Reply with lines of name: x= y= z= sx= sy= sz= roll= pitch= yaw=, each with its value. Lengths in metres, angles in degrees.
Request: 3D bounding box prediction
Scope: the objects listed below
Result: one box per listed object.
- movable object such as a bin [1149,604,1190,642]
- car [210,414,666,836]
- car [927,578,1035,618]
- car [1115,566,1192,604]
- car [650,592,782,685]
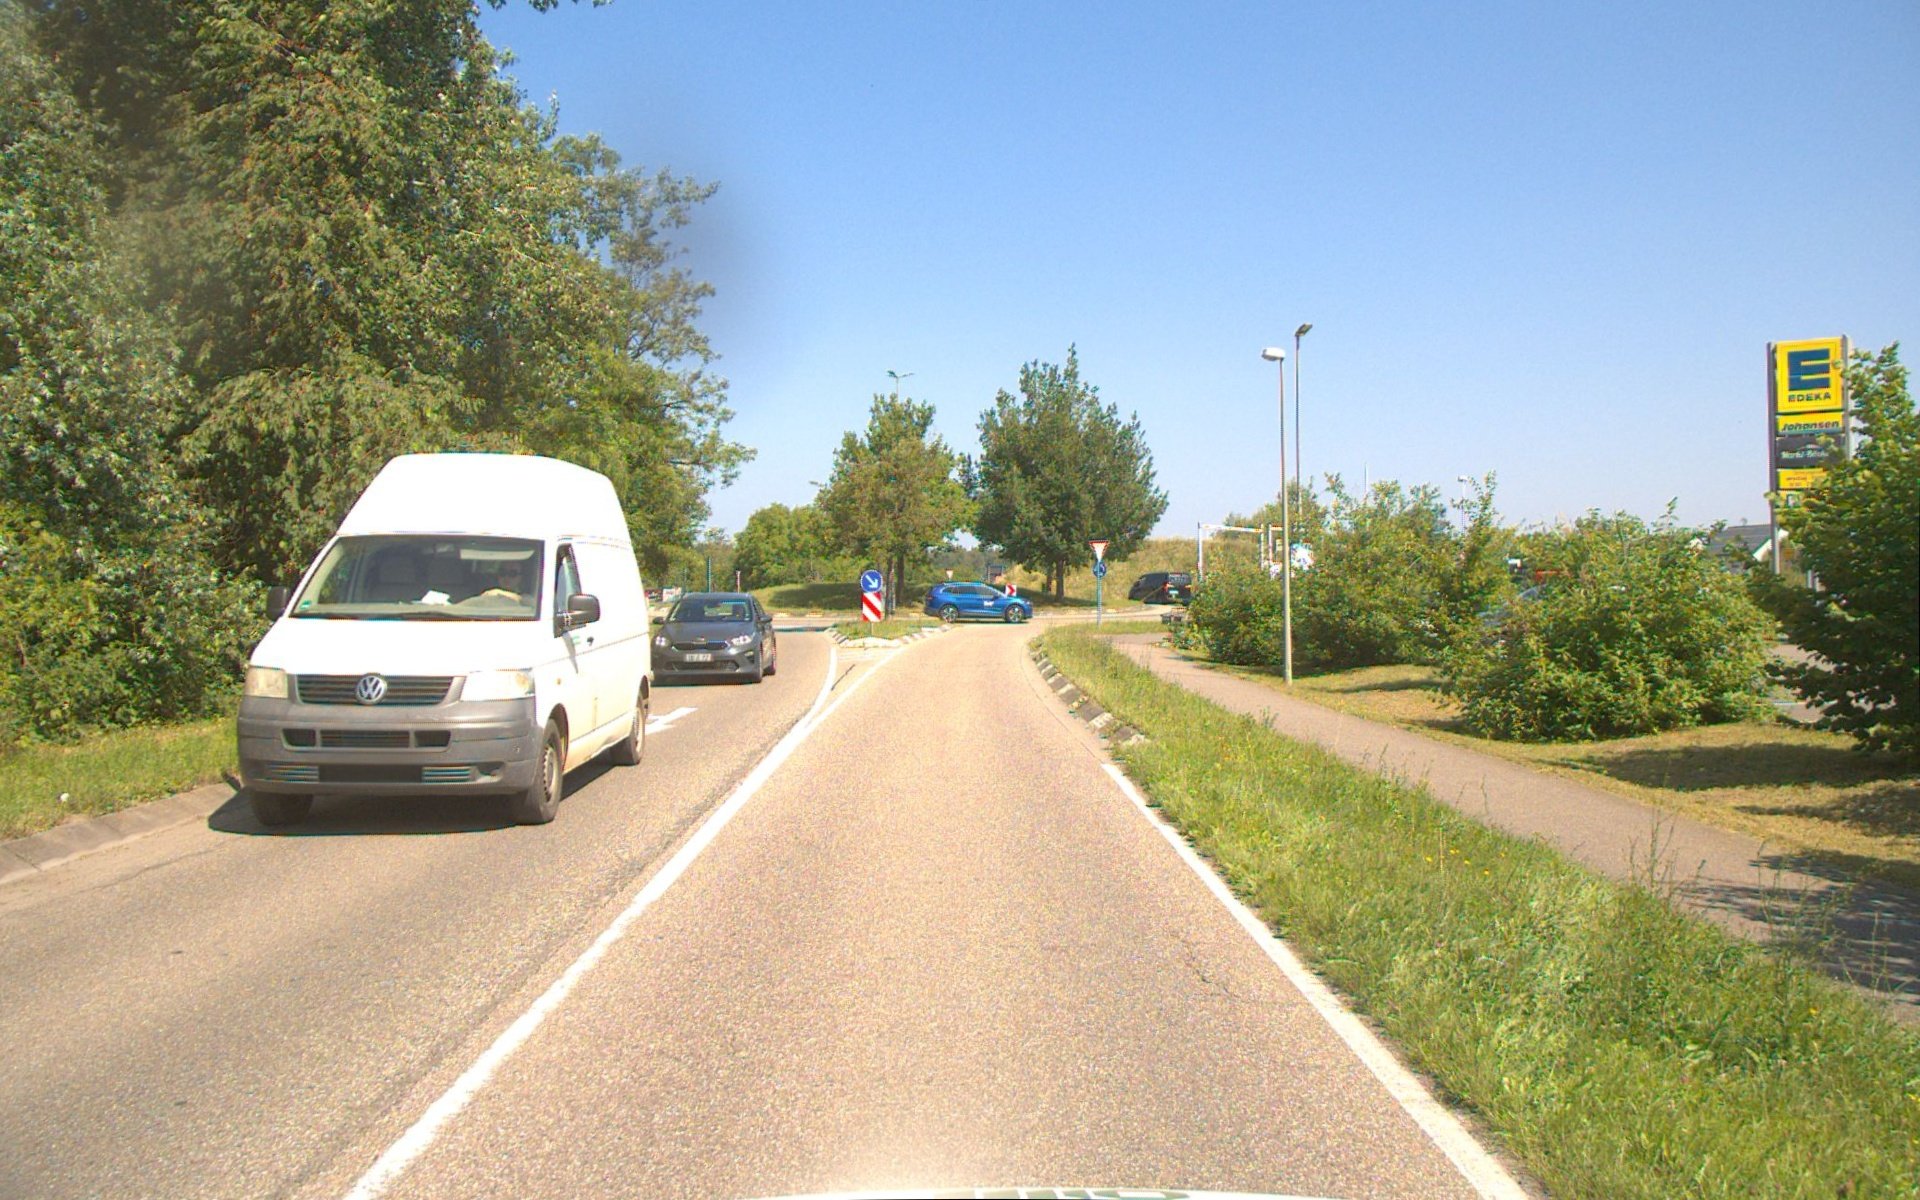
movable object such as a bin: x=6.611 y=0.711 z=52.196 sx=0.851 sy=1.140 sz=1.453 roll=0 pitch=1 yaw=27
car: x=-3.477 y=0.124 z=12.113 sx=1.873 sy=2.442 sz=4.909 roll=-1 pitch=0 yaw=-2
car: x=0.855 y=-0.083 z=68.171 sx=4.327 sy=1.599 sz=1.714 roll=0 pitch=1 yaw=-5
car: x=10.702 y=-0.803 z=91.484 sx=1.982 sy=2.049 sz=3.941 roll=-1 pitch=1 yaw=-40
car: x=-4.025 y=0.590 z=27.892 sx=1.664 sy=1.413 sz=4.293 roll=-1 pitch=1 yaw=-1
